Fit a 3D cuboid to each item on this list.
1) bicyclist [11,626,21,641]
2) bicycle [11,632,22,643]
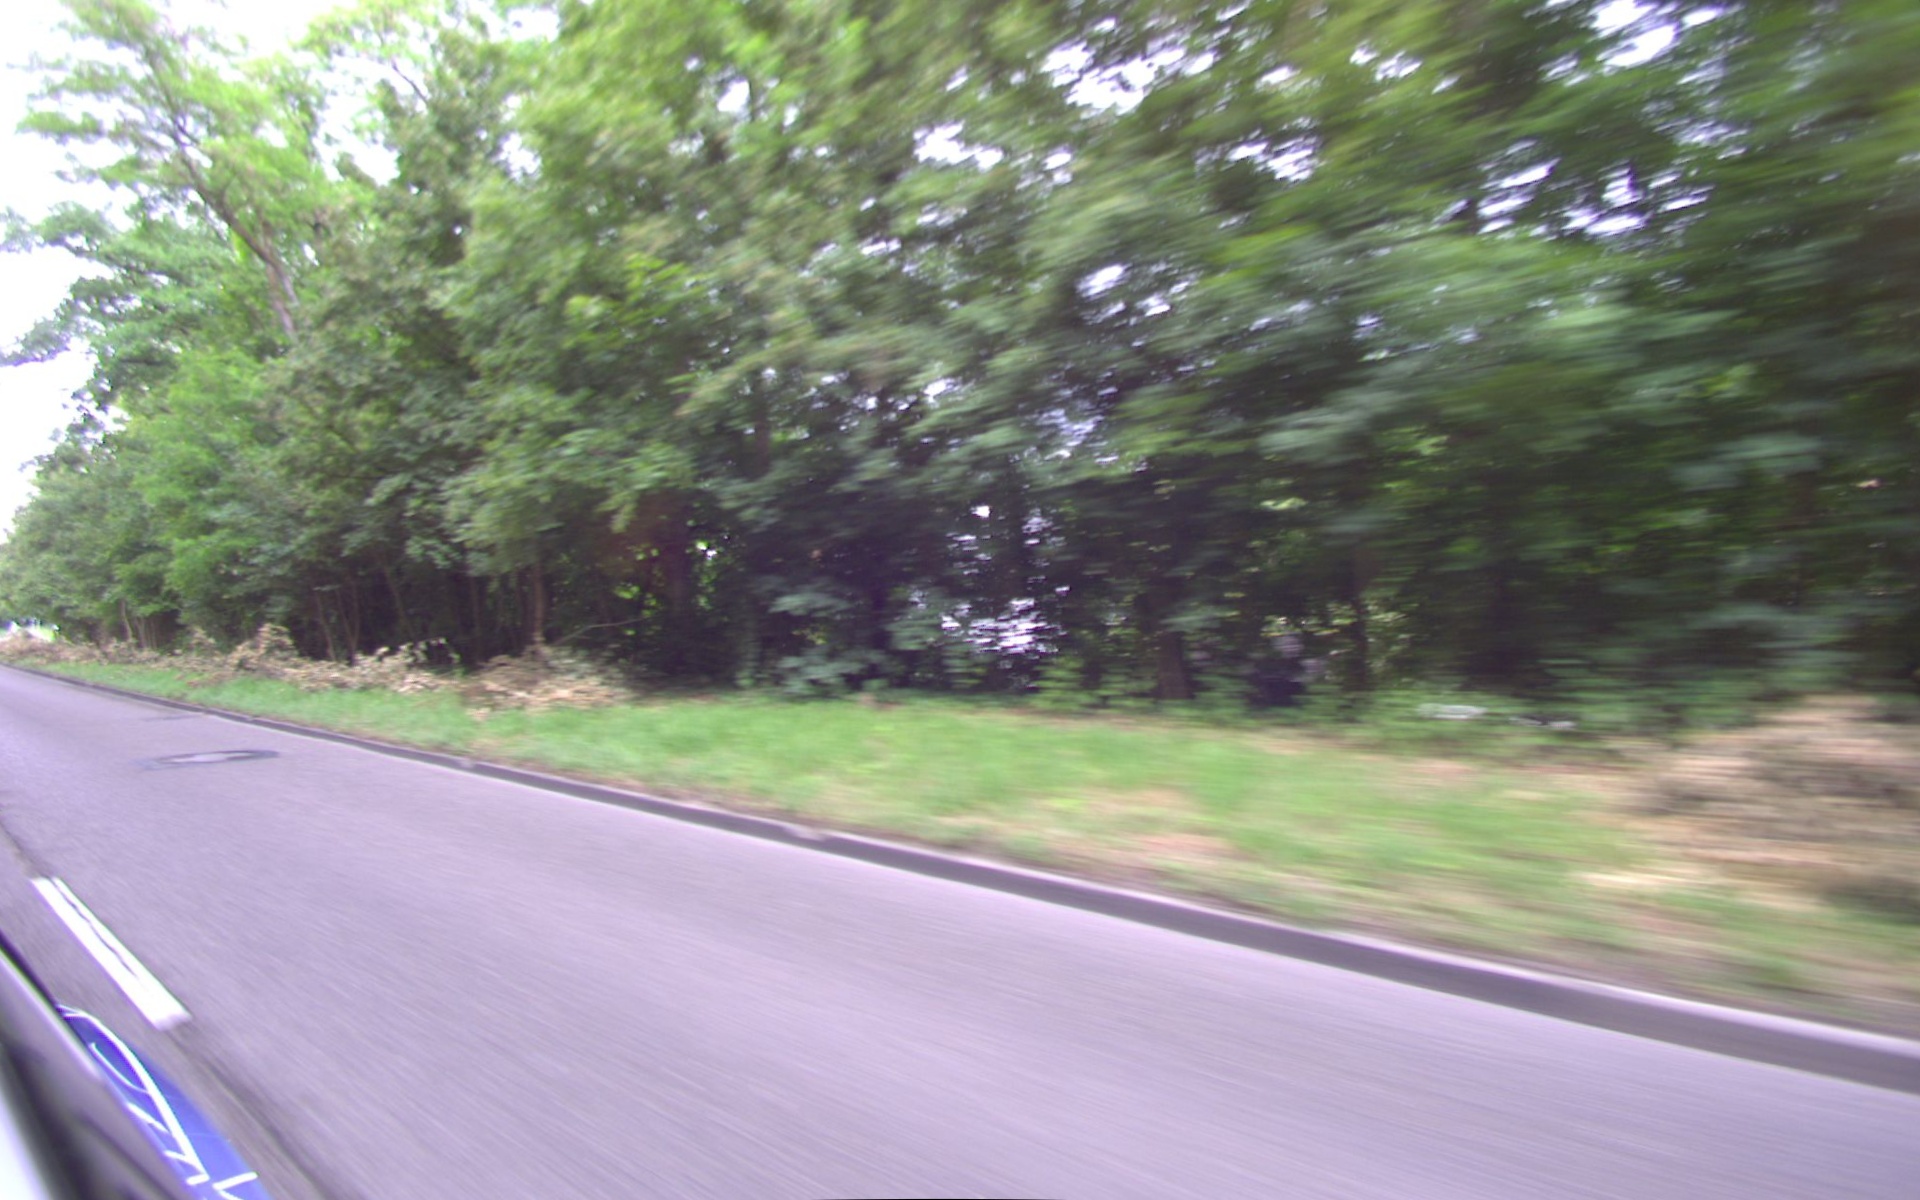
[{"bbox_3d":[-96.337,3.422,103.315,0.657,1.531,1.273,-1,-1,-40],"label":"bicyclist"},{"bbox_3d":[-96.314,3.847,103.301,0.657,1.082,2.149,-1,-1,-40],"label":"bicycle"}]
